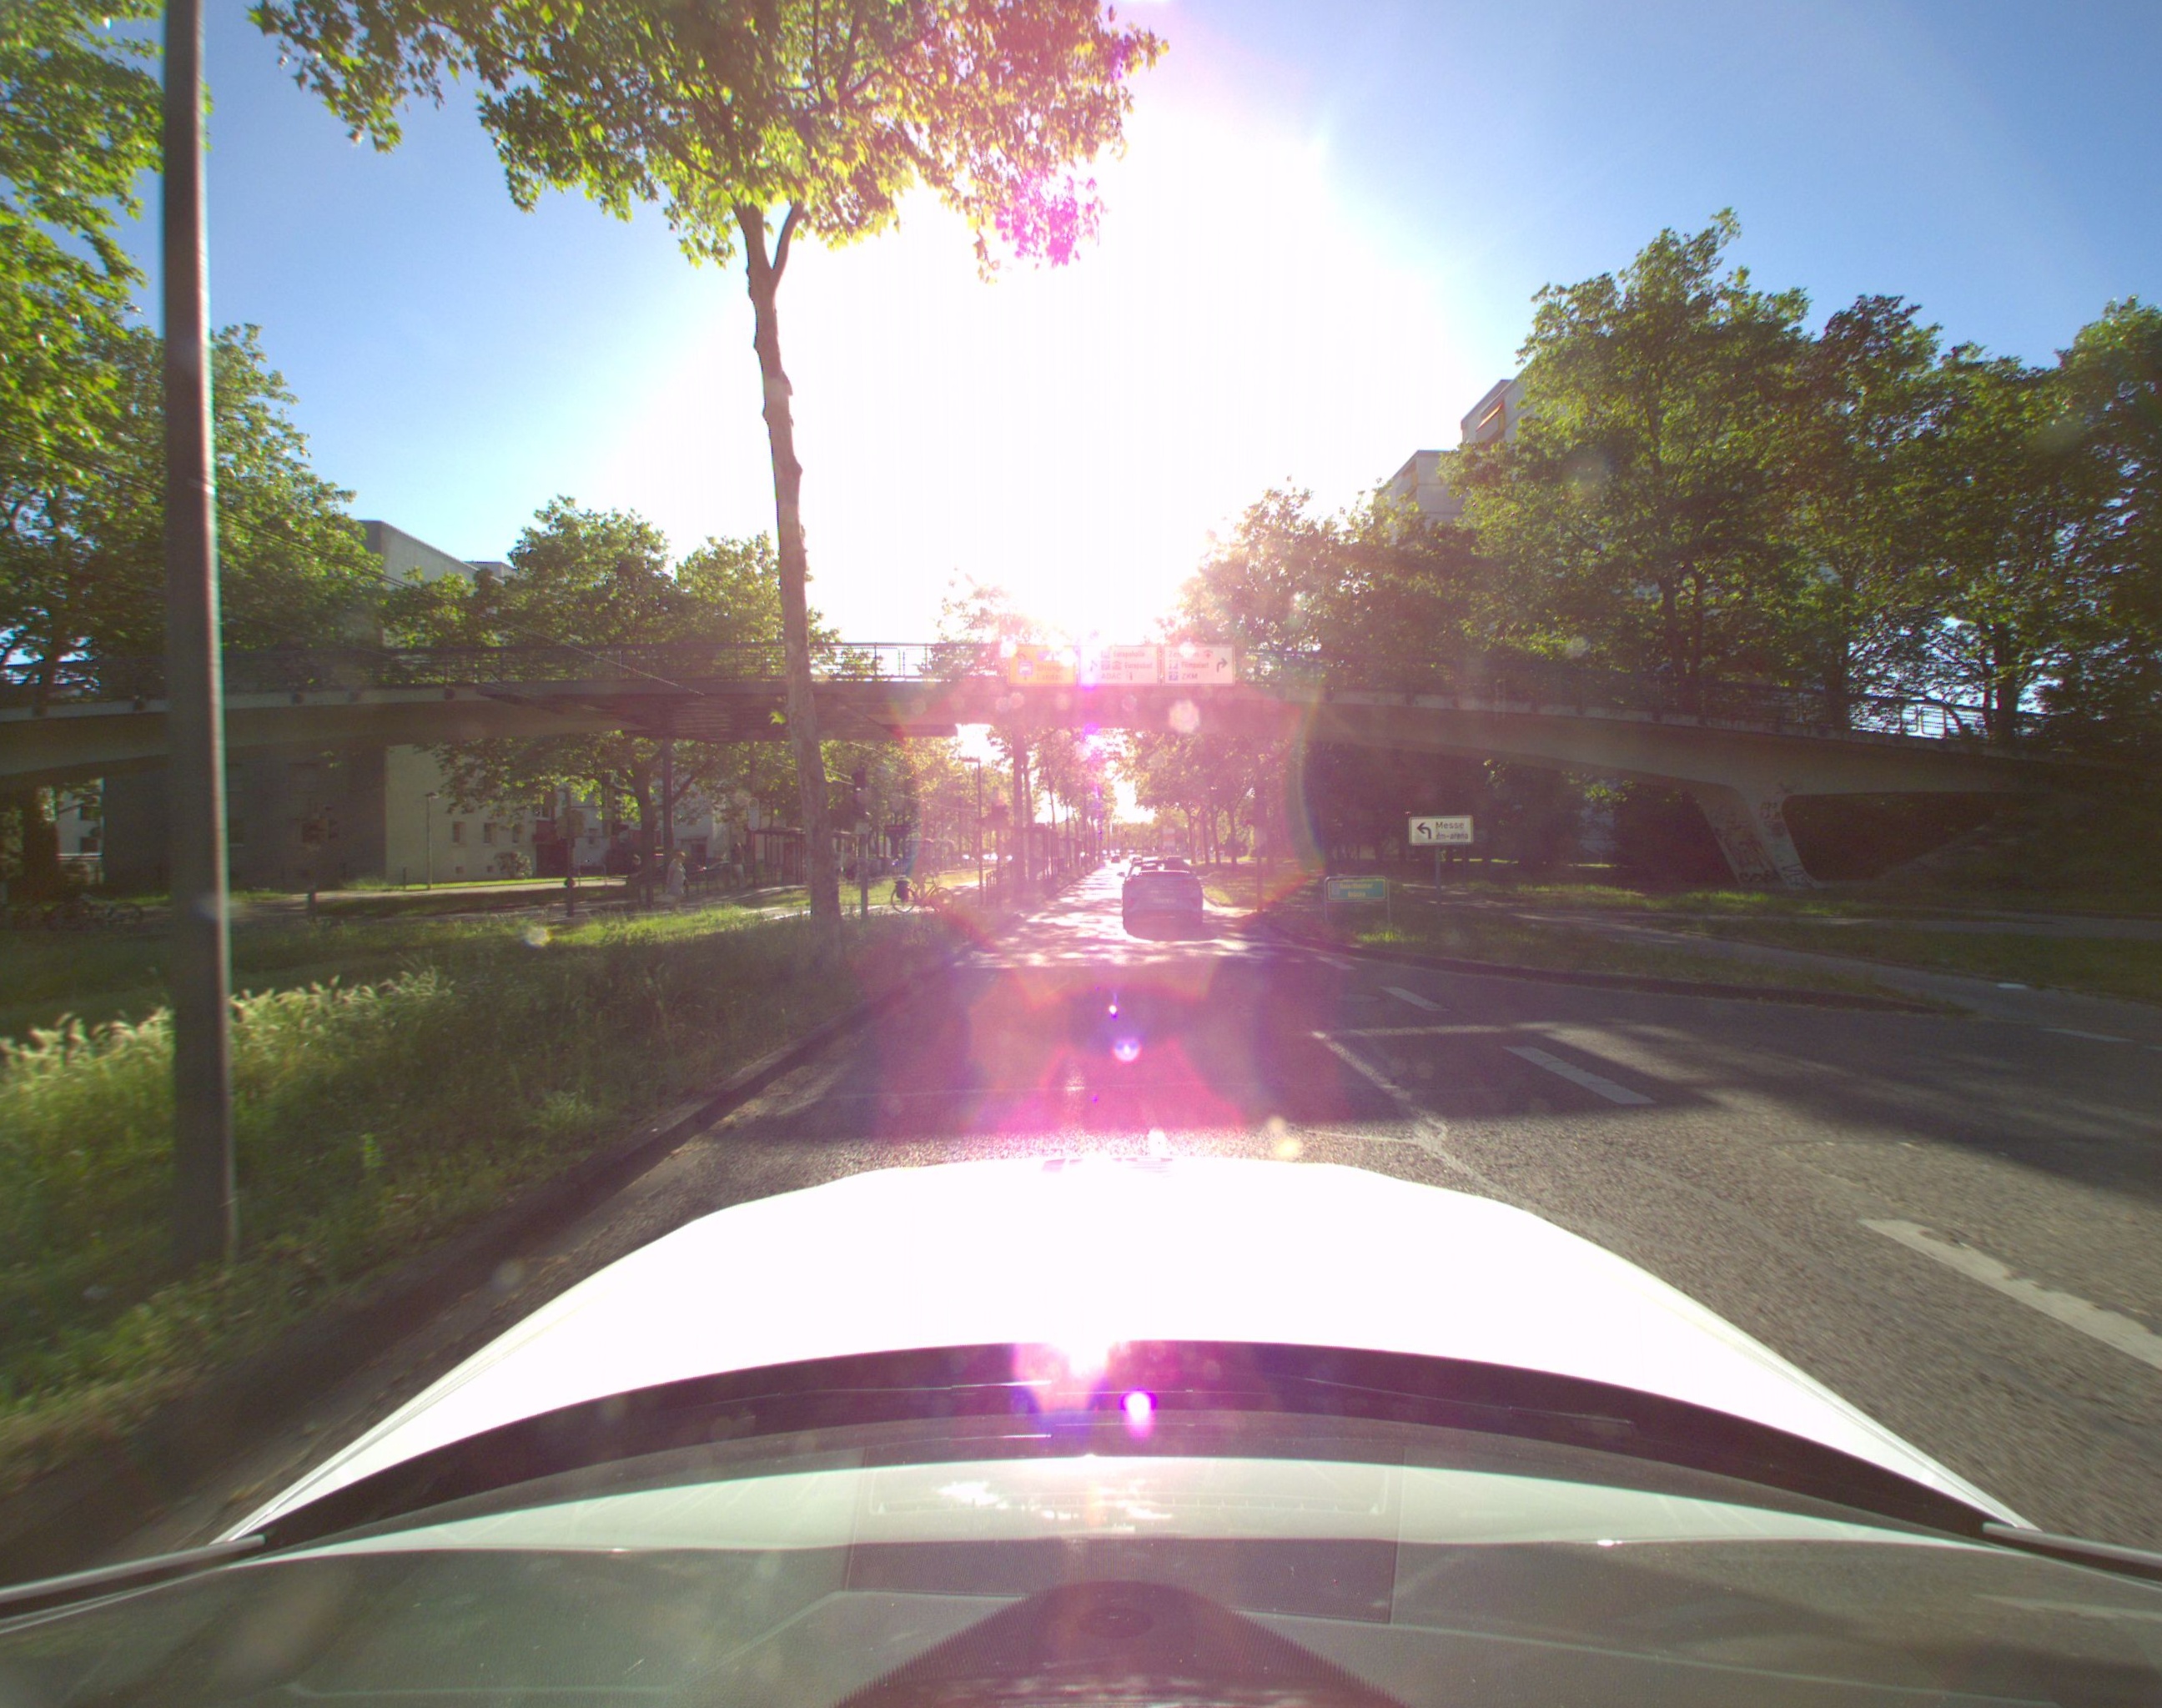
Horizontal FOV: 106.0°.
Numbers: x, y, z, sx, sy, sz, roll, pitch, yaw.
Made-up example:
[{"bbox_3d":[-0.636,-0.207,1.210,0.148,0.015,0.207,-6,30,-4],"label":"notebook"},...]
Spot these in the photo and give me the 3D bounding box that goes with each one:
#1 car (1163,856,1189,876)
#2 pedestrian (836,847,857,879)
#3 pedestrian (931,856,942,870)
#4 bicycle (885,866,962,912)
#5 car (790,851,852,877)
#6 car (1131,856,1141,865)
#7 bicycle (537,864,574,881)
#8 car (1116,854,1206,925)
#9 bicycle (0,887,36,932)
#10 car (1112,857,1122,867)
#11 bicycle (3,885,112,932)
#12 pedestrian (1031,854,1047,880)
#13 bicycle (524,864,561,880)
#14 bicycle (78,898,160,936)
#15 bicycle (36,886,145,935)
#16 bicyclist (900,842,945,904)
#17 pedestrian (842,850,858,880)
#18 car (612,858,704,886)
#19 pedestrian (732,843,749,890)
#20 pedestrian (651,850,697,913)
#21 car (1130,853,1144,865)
[{"bbox_3d":[8.702,1.095,75.008,1.974,1.792,4.616,-1,-1,2],"label":"car"},{"bbox_3d":[-12.360,0.466,42.945,0.707,1.634,0.735,-2,-1,18],"label":"pedestrian"},{"bbox_3d":[-11.985,0.749,67.713,0.691,1.127,0.662,-4,-1,3],"label":"pedestrian"},{"bbox_3d":[-4.238,0.929,21.967,1.820,1.147,0.817,1,0,8],"label":"bicycle"},{"bbox_3d":[-21.427,0.840,67.230,4.520,2.063,1.879,1,1,-37],"label":"car"},{"bbox_3d":[9.234,1.104,136.541,1.671,1.475,4.134,0,-1,4],"label":"car"},{"bbox_3d":[-33.883,1.177,52.547,0.693,0.928,2.594,1,1,-1],"label":"bicycle"},{"bbox_3d":[1.791,0.759,19.379,1.770,1.483,4.100,0,0,0],"label":"car"},{"bbox_3d":[-25.014,1.283,18.463,0.432,1.009,1.687,0,0,2],"label":"bicycle"},{"bbox_3d":[5.885,1.258,133.020,1.704,1.603,3.351,0,-1,2],"label":"car"},{"bbox_3d":[-24.564,1.296,19.586,0.432,1.009,1.687,0,0,2],"label":"bicycle"},{"bbox_3d":[-2.019,0.630,39.362,0.732,1.252,0.587,1,-1,-4],"label":"pedestrian"},{"bbox_3d":[-34.719,1.170,52.572,0.693,0.928,2.594,1,1,-1],"label":"bicycle"},{"bbox_3d":[-21.804,1.419,18.484,0.432,0.779,1.175,0,0,2],"label":"bicycle"},{"bbox_3d":[-23.150,1.304,19.073,0.432,1.009,1.687,0,0,2],"label":"bicycle"},{"bbox_3d":[-4.270,0.502,21.975,0.948,1.632,0.817,1,0,8],"label":"bicyclist"},{"bbox_3d":[-11.807,0.554,41.637,0.641,1.514,0.683,-2,-1,-5],"label":"pedestrian"},{"bbox_3d":[-23.109,0.978,44.559,4.219,1.428,1.681,1,1,-37],"label":"car"},{"bbox_3d":[-13.194,0.484,31.551,0.506,1.770,0.478,1,-1,-39],"label":"pedestrian"},{"bbox_3d":[-11.164,0.736,22.345,0.723,1.674,1.048,1,-1,-1],"label":"pedestrian"},{"bbox_3d":[7.125,0.621,103.905,1.633,1.494,3.505,0,0,2],"label":"car"}]
